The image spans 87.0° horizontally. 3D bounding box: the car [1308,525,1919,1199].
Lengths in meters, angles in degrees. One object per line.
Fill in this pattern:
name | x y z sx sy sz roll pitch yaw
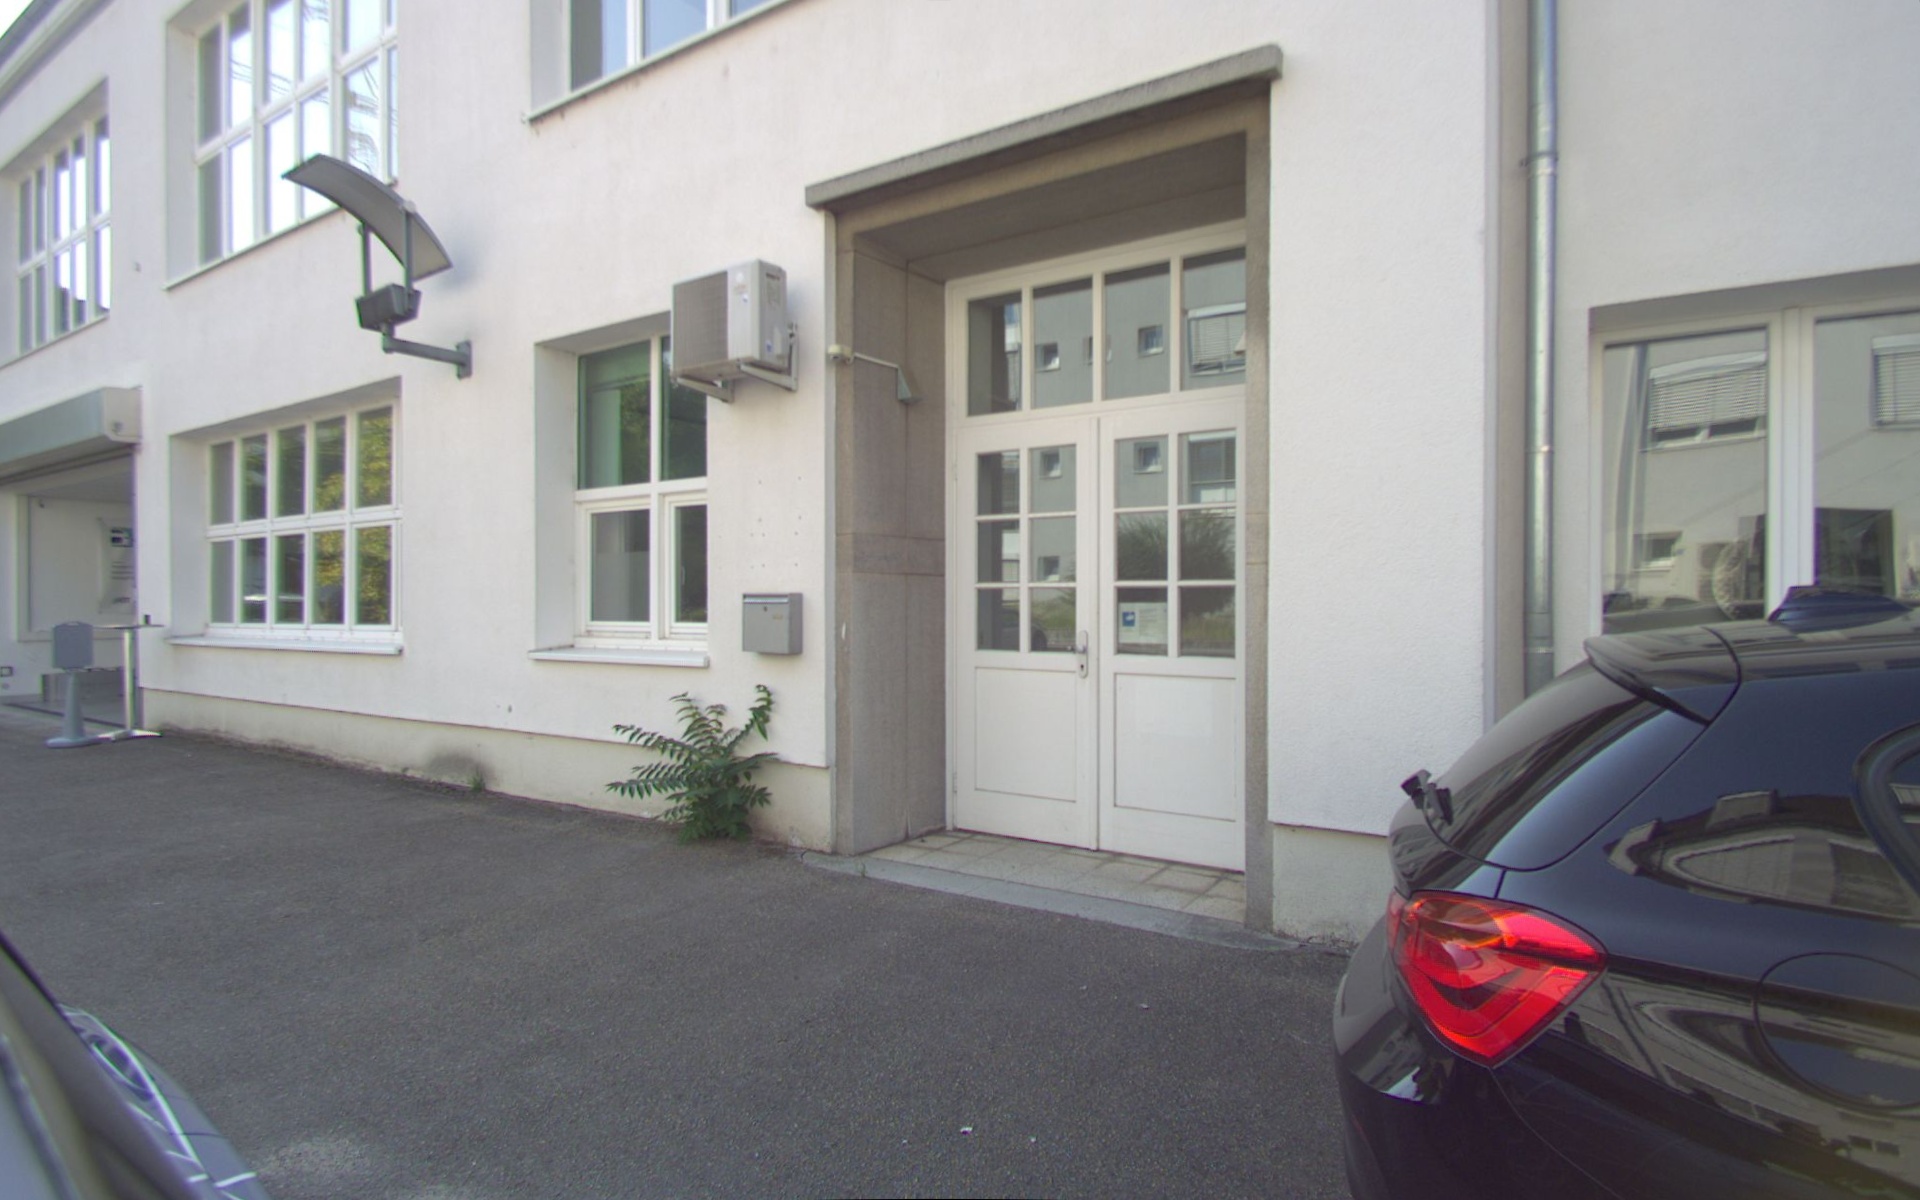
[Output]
car | 2.707 0.615 1.113 4.122 1.439 1.779 -1 0 32
